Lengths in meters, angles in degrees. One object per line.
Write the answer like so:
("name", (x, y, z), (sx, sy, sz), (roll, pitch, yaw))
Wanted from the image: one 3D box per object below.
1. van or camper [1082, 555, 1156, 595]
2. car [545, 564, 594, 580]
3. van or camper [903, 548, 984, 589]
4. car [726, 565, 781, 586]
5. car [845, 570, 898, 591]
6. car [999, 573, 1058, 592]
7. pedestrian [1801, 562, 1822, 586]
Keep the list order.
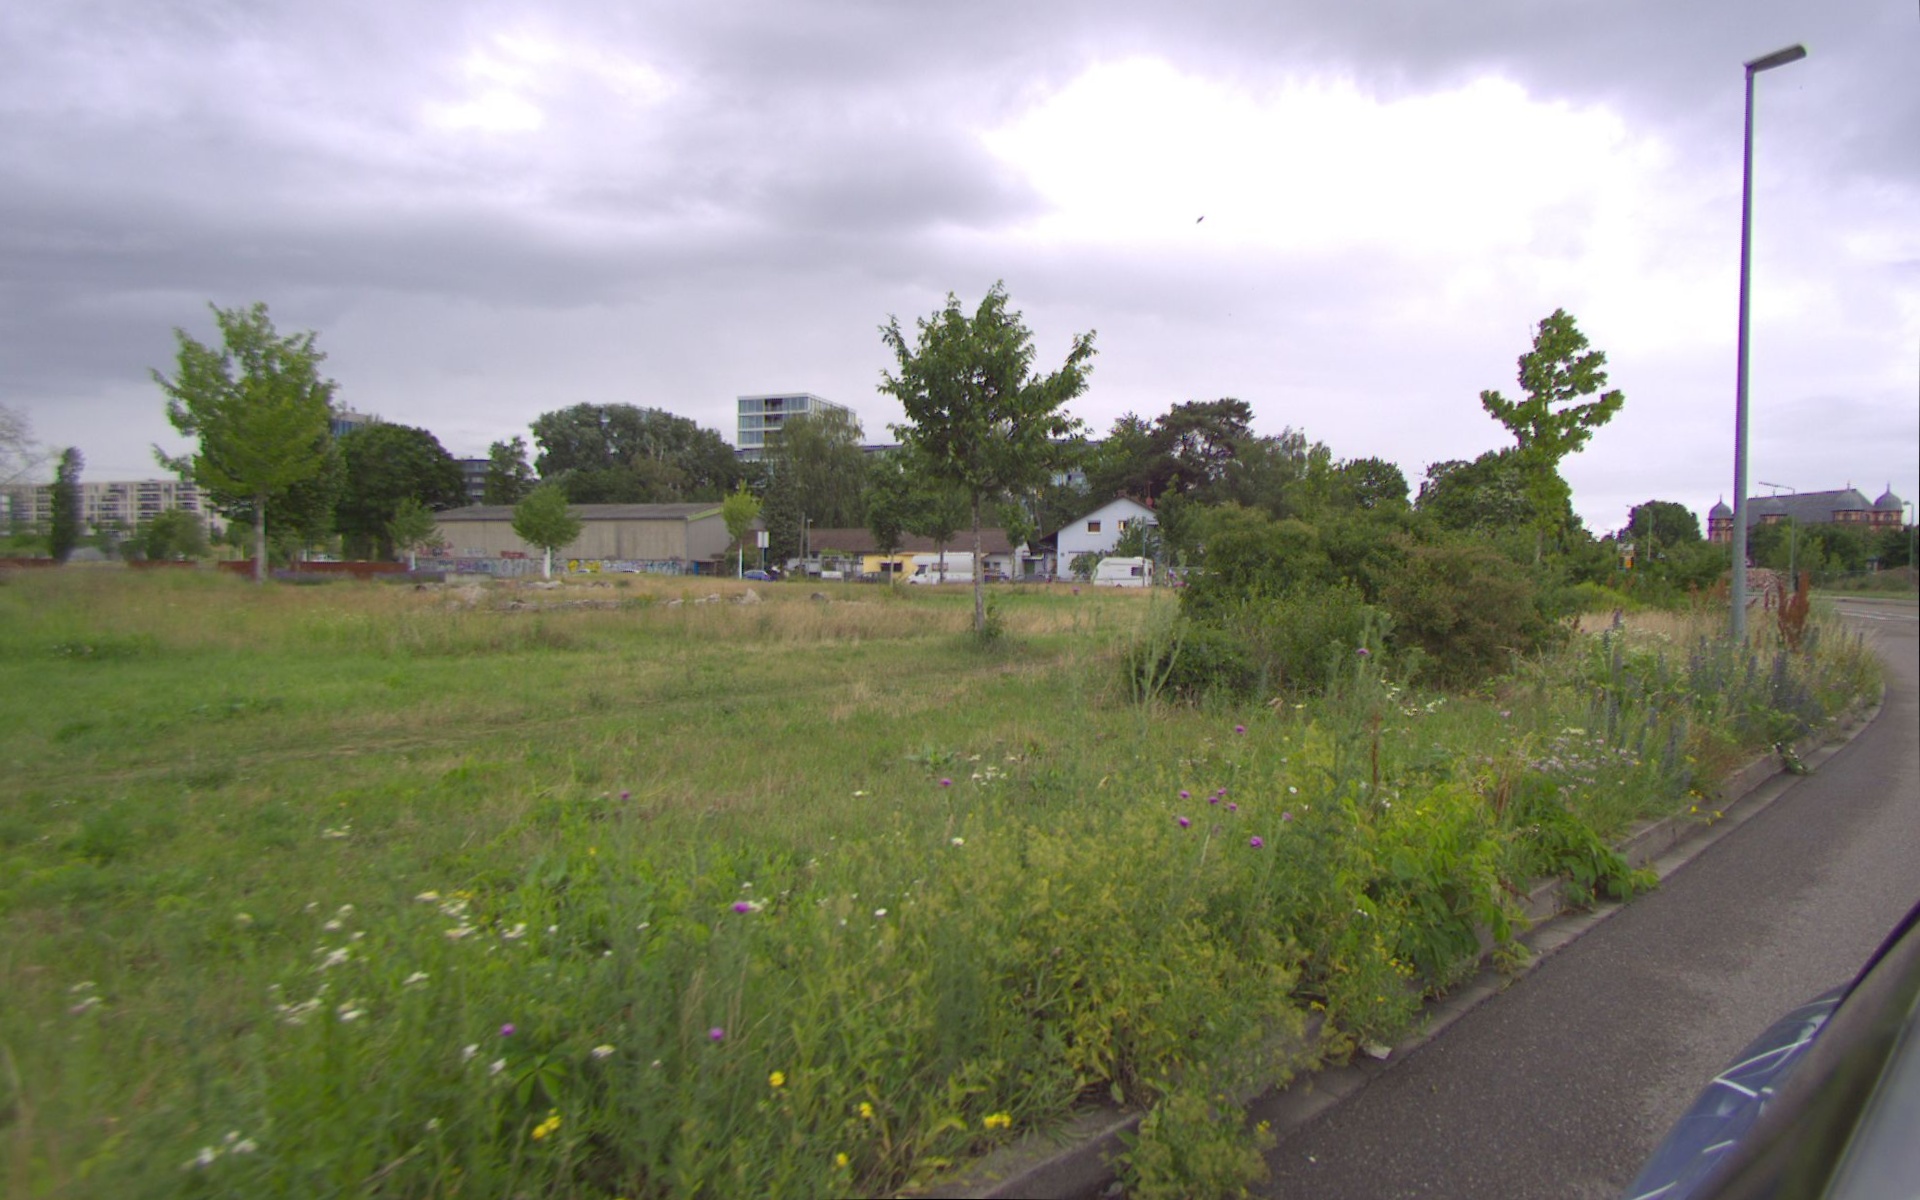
("van or camper", (11.949, -1.893, 75.999), (5.116, 2.867, 2.400), (1, 1, 21))
("car", (-35.670, -2.551, 92.515), (3.949, 1.437, 1.837), (1, 2, 19))
("van or camper", (-1.326, -2.503, 80.629), (5.993, 3.150, 2.258), (1, 1, 18))
("car", (-17.685, -2.095, 86.666), (4.230, 1.594, 1.986), (2, -1, 20))
("car", (-7.238, -1.611, 82.896), (3.885, 1.594, 1.986), (2, -1, 20))
("car", (5.290, -1.346, 78.151), (4.235, 1.402, 1.902), (1, 2, 19))
("pedestrian", (64.557, -1.940, 76.702), (0.835, 1.805, 1.070), (1, 1, 19))
